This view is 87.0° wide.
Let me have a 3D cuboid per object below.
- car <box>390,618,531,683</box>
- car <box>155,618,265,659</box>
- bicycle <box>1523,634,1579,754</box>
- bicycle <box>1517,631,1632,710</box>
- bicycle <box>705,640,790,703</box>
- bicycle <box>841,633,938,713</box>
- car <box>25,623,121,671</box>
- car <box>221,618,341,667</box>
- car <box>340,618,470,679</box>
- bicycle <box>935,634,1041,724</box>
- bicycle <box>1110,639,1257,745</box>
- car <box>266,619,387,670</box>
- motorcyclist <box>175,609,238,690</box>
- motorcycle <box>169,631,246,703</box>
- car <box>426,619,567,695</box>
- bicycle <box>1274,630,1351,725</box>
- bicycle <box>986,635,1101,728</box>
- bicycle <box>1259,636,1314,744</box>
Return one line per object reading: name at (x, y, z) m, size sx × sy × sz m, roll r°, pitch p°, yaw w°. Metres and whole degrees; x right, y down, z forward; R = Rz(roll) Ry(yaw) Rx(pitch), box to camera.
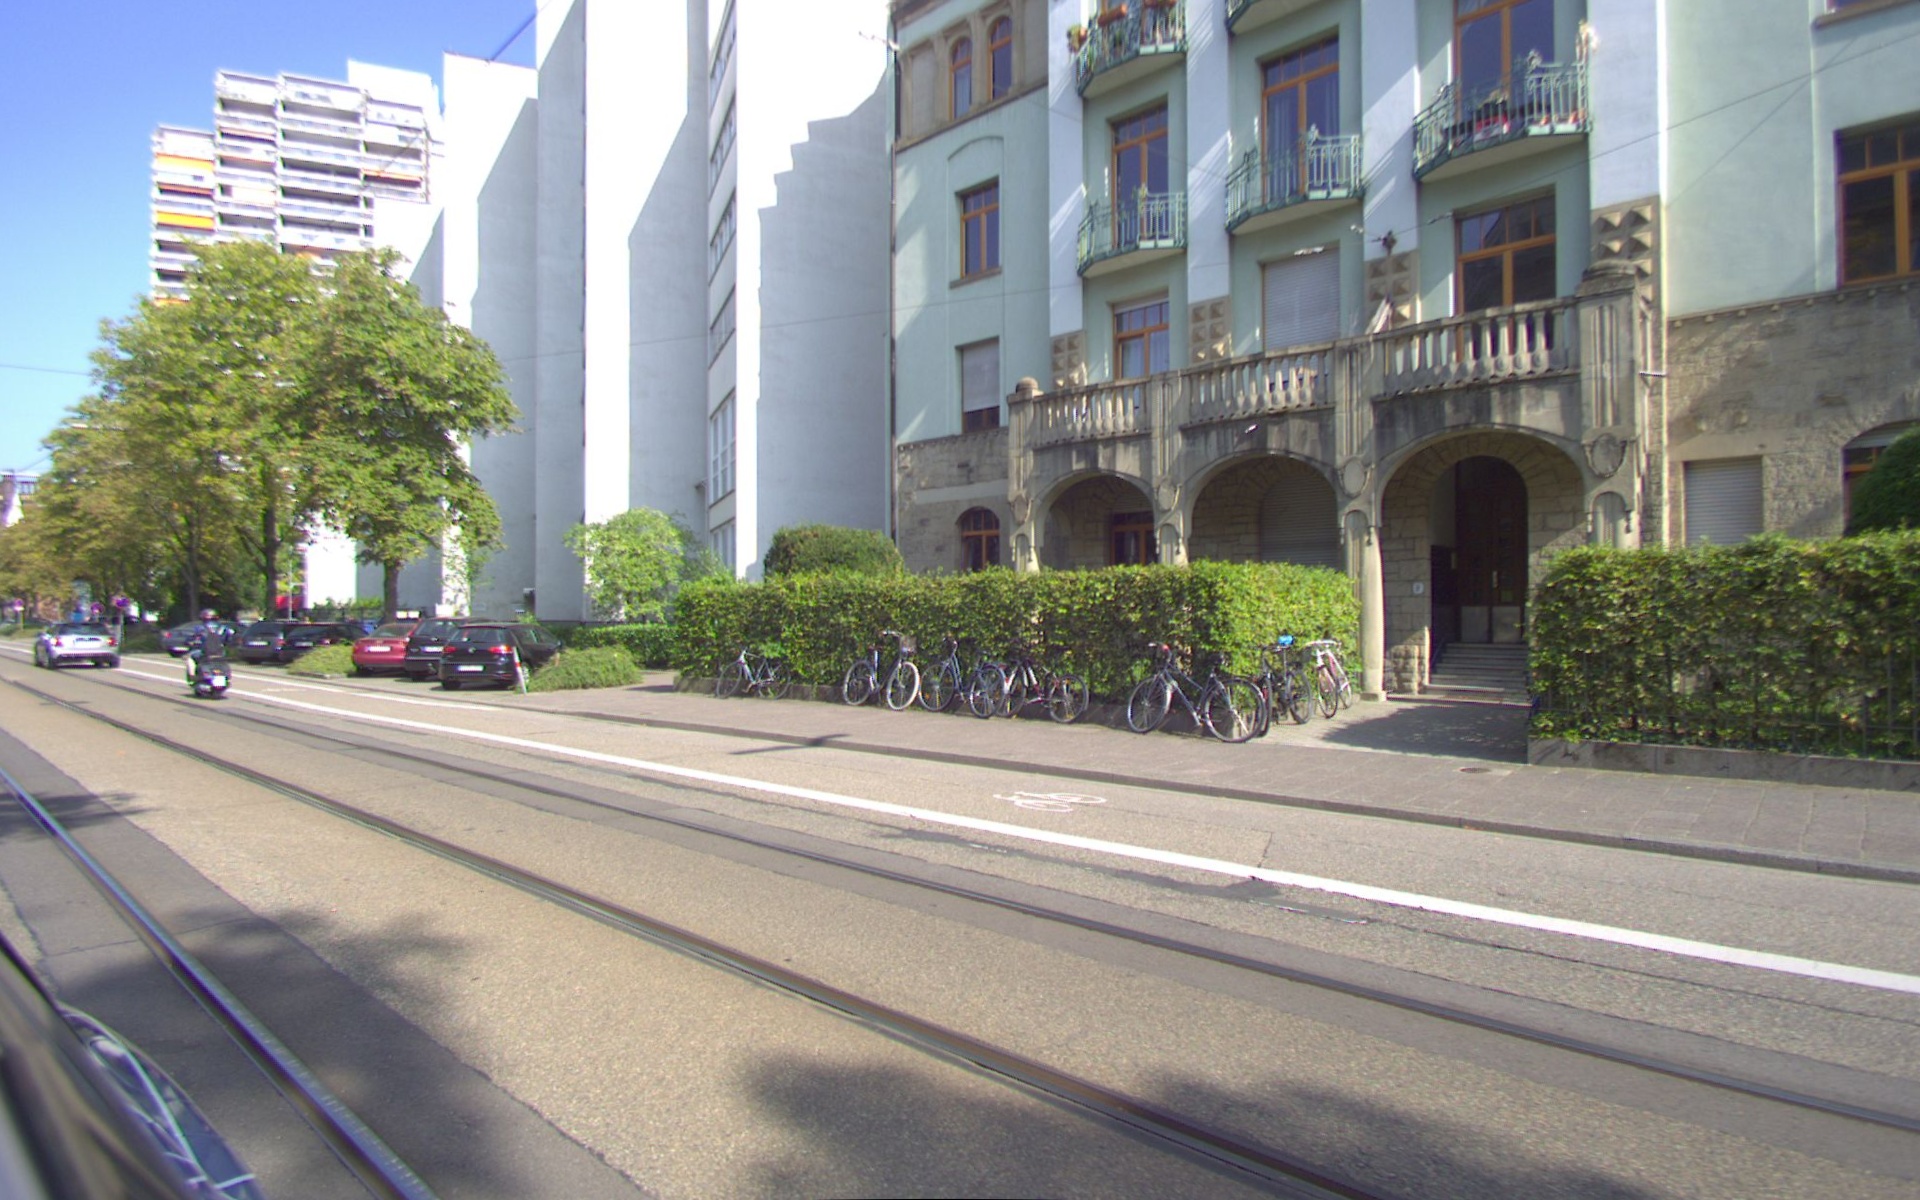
car at (-12.598, 1.223, 25.798) m, size 1.746 × 1.539 × 4.002 m, roll 0°, pitch -1°, yaw -2°
car at (-29.476, 1.469, 39.940) m, size 1.745 × 1.539 × 4.006 m, roll 0°, pitch -1°, yaw -7°
bicycle at (5.886, 0.901, 10.112) m, size 0.424 × 1.096 × 1.341 m, roll -1°, pitch -1°, yaw 29°
bicycle at (7.809, 0.882, 12.864) m, size 1.332 × 0.956 × 0.427 m, roll 0°, pitch -1°, yaw -15°
bicycle at (-3.595, 1.178, 17.018) m, size 1.769 × 0.985 × 0.420 m, roll -1°, pitch -2°, yaw 41°
bicycle at (-1.058, 1.037, 14.859) m, size 1.677 × 1.096 × 0.419 m, roll -1°, pitch -2°, yaw 45°
car at (-27.327, 1.396, 31.132) m, size 3.786 × 1.367 × 1.734 m, roll -1°, pitch -2°, yaw 41°
car at (-22.786, 1.382, 34.146) m, size 1.745 × 1.539 × 4.006 m, roll 0°, pitch -1°, yaw -7°
car at (-14.924, 1.262, 27.461) m, size 1.745 × 1.539 × 4.006 m, roll 0°, pitch -1°, yaw -7°
bicycle at (0.345, 1.011, 13.413) m, size 0.419 × 1.096 × 1.679 m, roll 1°, pitch -2°, yaw -39°
bicycle at (2.490, 0.997, 11.452) m, size 0.419 × 1.096 × 1.678 m, roll 1°, pitch -2°, yaw -43°
car at (-20.305, 1.375, 32.638) m, size 1.745 × 1.539 × 4.006 m, roll 0°, pitch -1°, yaw -7°
motorcyclist at (-14.059, 0.914, 18.889) m, size 0.889 × 1.464 × 0.805 m, roll -1°, pitch -2°, yaw 44°
motorcycle at (-14.055, 1.206, 18.878) m, size 2.202 × 1.252 × 0.805 m, roll -1°, pitch -2°, yaw 45°
car at (-10.261, 1.202, 22.729) m, size 1.745 × 1.539 × 4.006 m, roll 0°, pitch -1°, yaw -7°
bicycle at (4.342, 0.921, 12.422) m, size 0.425 × 1.096 × 1.337 m, roll -1°, pitch -2°, yaw 40°
bicycle at (1.042, 1.013, 12.977) m, size 0.419 × 1.096 × 1.679 m, roll 1°, pitch -2°, yaw -39°
bicycle at (3.640, 0.959, 11.230) m, size 0.423 × 1.096 × 1.384 m, roll -1°, pitch -1°, yaw 24°
